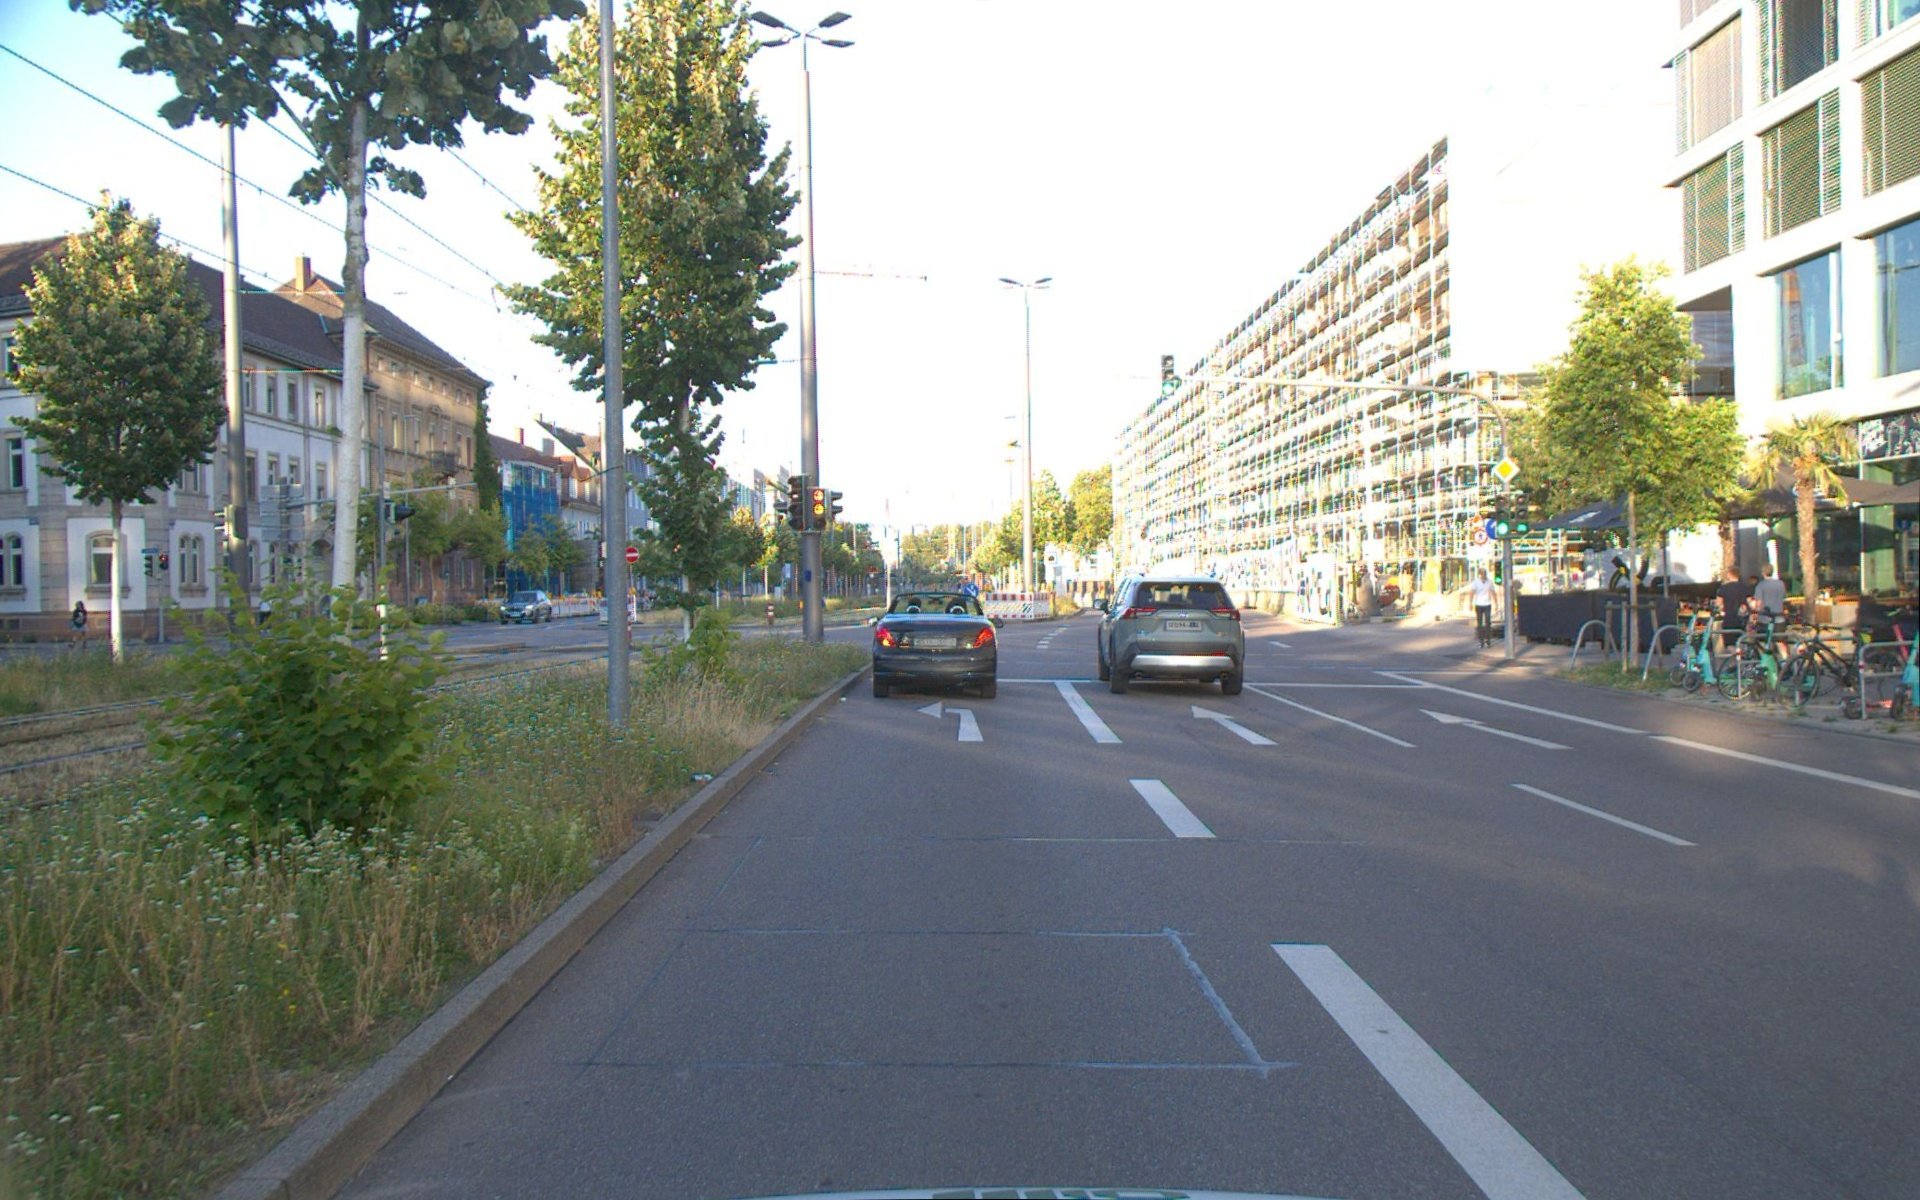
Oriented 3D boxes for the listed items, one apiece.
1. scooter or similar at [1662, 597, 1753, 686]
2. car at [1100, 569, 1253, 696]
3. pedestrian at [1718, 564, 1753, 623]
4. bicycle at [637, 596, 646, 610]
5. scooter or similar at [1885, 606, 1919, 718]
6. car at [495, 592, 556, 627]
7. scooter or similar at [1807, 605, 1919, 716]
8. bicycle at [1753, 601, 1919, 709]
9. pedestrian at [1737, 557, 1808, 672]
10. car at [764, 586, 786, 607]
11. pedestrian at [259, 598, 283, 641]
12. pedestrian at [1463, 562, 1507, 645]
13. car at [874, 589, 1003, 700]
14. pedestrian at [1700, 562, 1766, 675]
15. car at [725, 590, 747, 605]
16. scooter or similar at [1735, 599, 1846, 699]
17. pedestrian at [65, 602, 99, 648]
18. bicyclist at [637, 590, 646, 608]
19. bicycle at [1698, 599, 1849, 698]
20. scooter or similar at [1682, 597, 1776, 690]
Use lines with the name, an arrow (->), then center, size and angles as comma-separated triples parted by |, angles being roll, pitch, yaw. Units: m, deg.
scooter or similar -> 11.128, 0.610, 24.625 | 1.031, 1.244, 0.598 | -3, 1, -5
car -> 3.071, 0.405, 24.219 | 1.796, 1.701, 4.284 | 0, 1, 2
pedestrian -> 18.345, -0.151, 39.136 | 0.600, 1.342, 0.621 | -4, 0, 17
bicycle -> -23.179, 0.210, 120.350 | 0.579, 1.006, 1.552 | 1, 1, -11
scooter or similar -> 11.097, 0.668, 18.548 | 1.104, 1.235, 0.532 | -3, -1, 15
car -> -21.999, 0.459, 83.906 | 1.953, 1.607, 4.124 | -2, 1, 0
scooter or similar -> 10.630, 0.702, 19.331 | 1.132, 1.212, 0.510 | -3, -1, 1
bicycle -> 10.918, 0.673, 20.546 | 1.809, 1.202, 0.608 | -3, 1, -1
pedestrian -> 12.920, 0.221, 26.312 | 0.671, 1.765, 0.761 | -3, 1, -1
car -> -18.972, -0.375, 169.843 | 1.623, 1.998, 4.267 | 1, 1, 1
pedestrian -> -28.605, 0.818, 68.673 | 0.689, 1.745, 0.811 | 1, 0, -9
pedestrian -> 12.157, 0.073, 38.311 | 0.753, 1.880, 0.678 | -2, 1, -1
car -> -0.298, 0.555, 23.152 | 1.640, 1.375, 4.000 | 0, 1, -1
pedestrian -> 12.210, 0.282, 26.136 | 0.640, 1.731, 0.689 | -3, 1, -1
car -> -23.002, -0.292, 170.204 | 1.623, 1.456, 3.895 | 1, 1, 1
scooter or similar -> 10.932, 0.638, 21.775 | 1.186, 1.222, 0.479 | -3, 1, -6
pedestrian -> -28.544, 0.805, 53.772 | 0.591, 1.484, 0.936 | 1, 0, 1
bicyclist -> -23.172, -0.105, 120.349 | 0.579, 1.288, 0.458 | 1, 0, -12
bicycle -> 10.968, 0.643, 22.320 | 1.759, 1.214, 0.567 | -3, 1, -6
scooter or similar -> 10.890, 0.607, 23.442 | 1.039, 1.244, 0.550 | -3, 0, 9
